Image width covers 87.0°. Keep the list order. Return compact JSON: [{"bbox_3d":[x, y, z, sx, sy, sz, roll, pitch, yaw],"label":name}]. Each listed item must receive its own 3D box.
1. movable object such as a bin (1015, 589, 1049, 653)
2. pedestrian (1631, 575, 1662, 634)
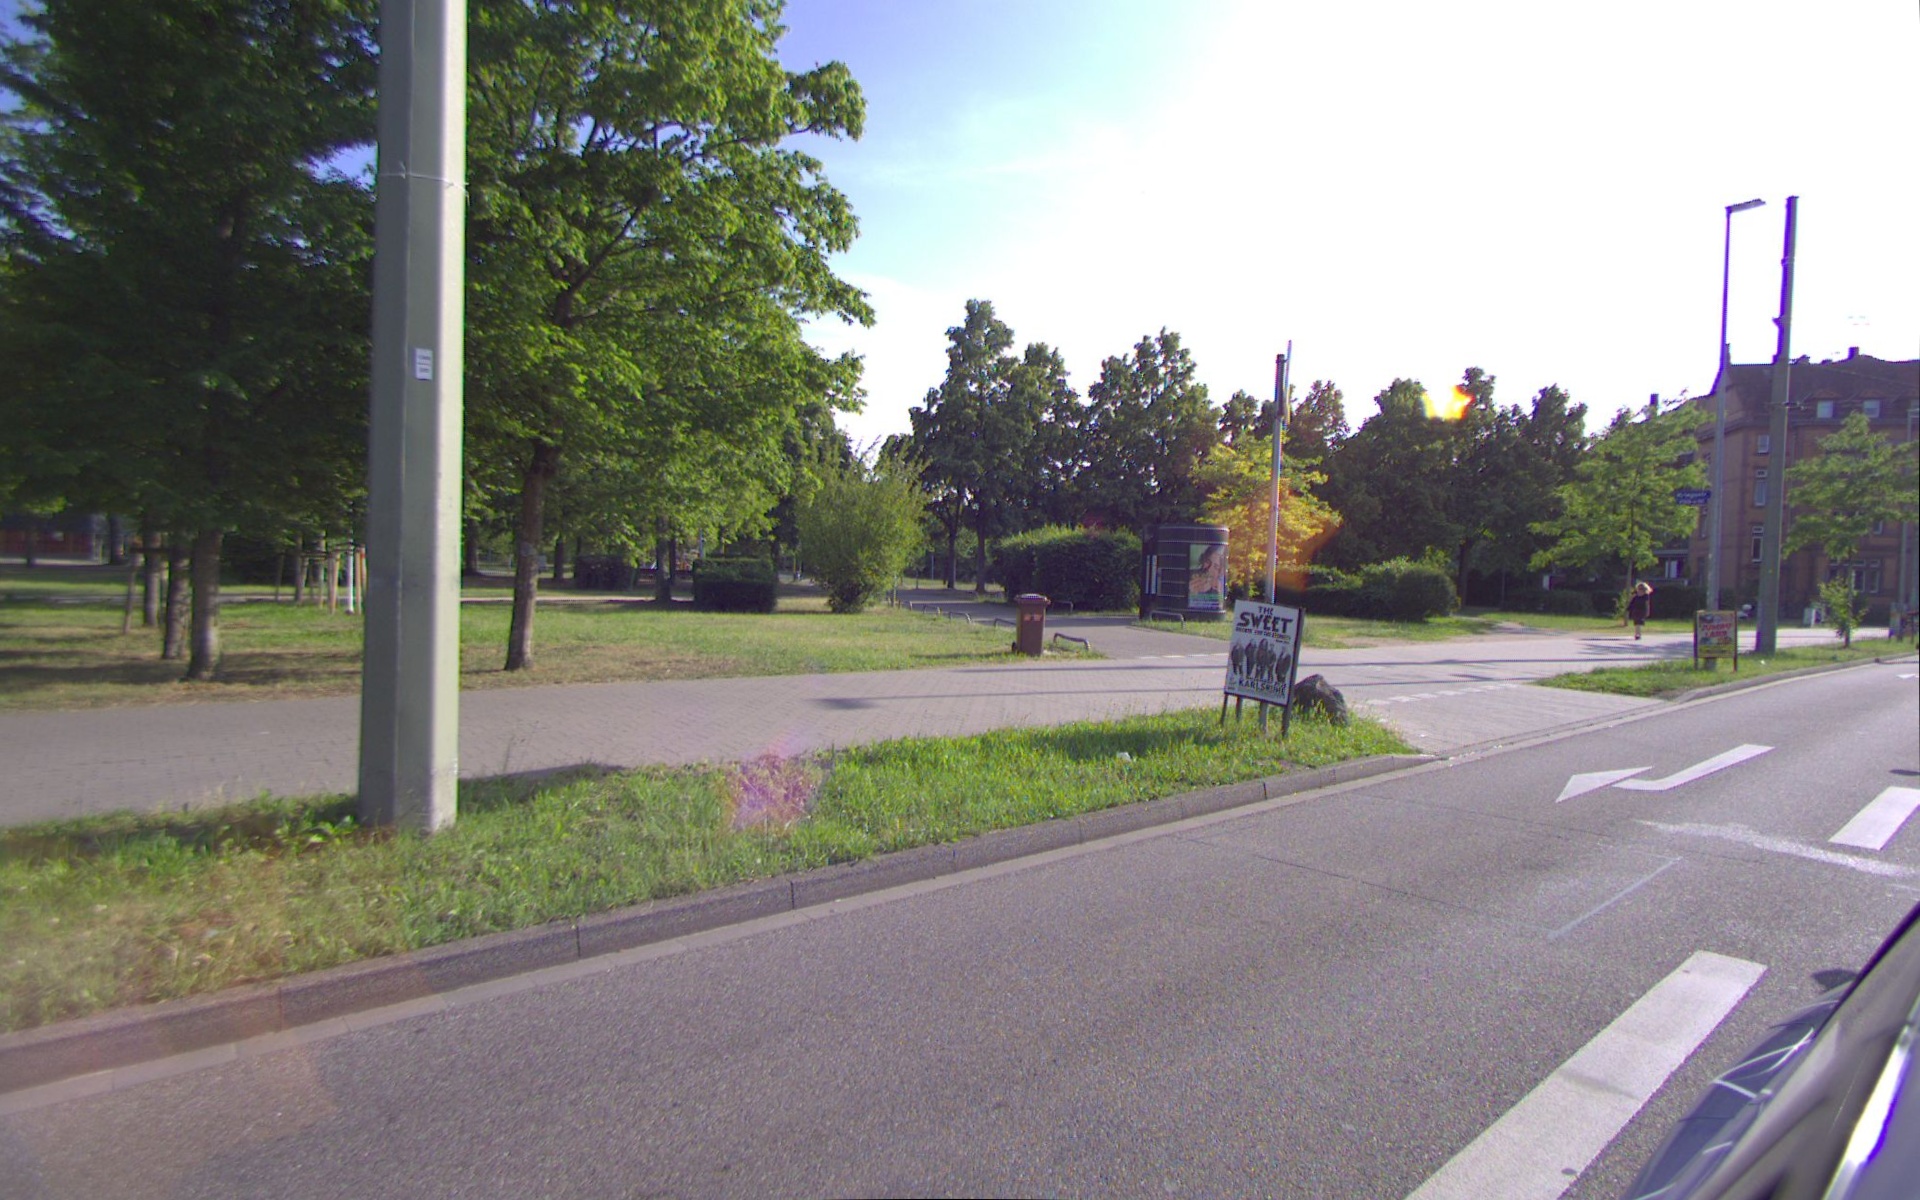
[{"bbox_3d":[1.091,0.306,15.445,0.447,0.929,0.605,2,2,1],"label":"movable object such as a bin"},{"bbox_3d":[20.175,0.125,29.748,0.607,1.706,0.621,1,0,-40],"label":"pedestrian"}]
